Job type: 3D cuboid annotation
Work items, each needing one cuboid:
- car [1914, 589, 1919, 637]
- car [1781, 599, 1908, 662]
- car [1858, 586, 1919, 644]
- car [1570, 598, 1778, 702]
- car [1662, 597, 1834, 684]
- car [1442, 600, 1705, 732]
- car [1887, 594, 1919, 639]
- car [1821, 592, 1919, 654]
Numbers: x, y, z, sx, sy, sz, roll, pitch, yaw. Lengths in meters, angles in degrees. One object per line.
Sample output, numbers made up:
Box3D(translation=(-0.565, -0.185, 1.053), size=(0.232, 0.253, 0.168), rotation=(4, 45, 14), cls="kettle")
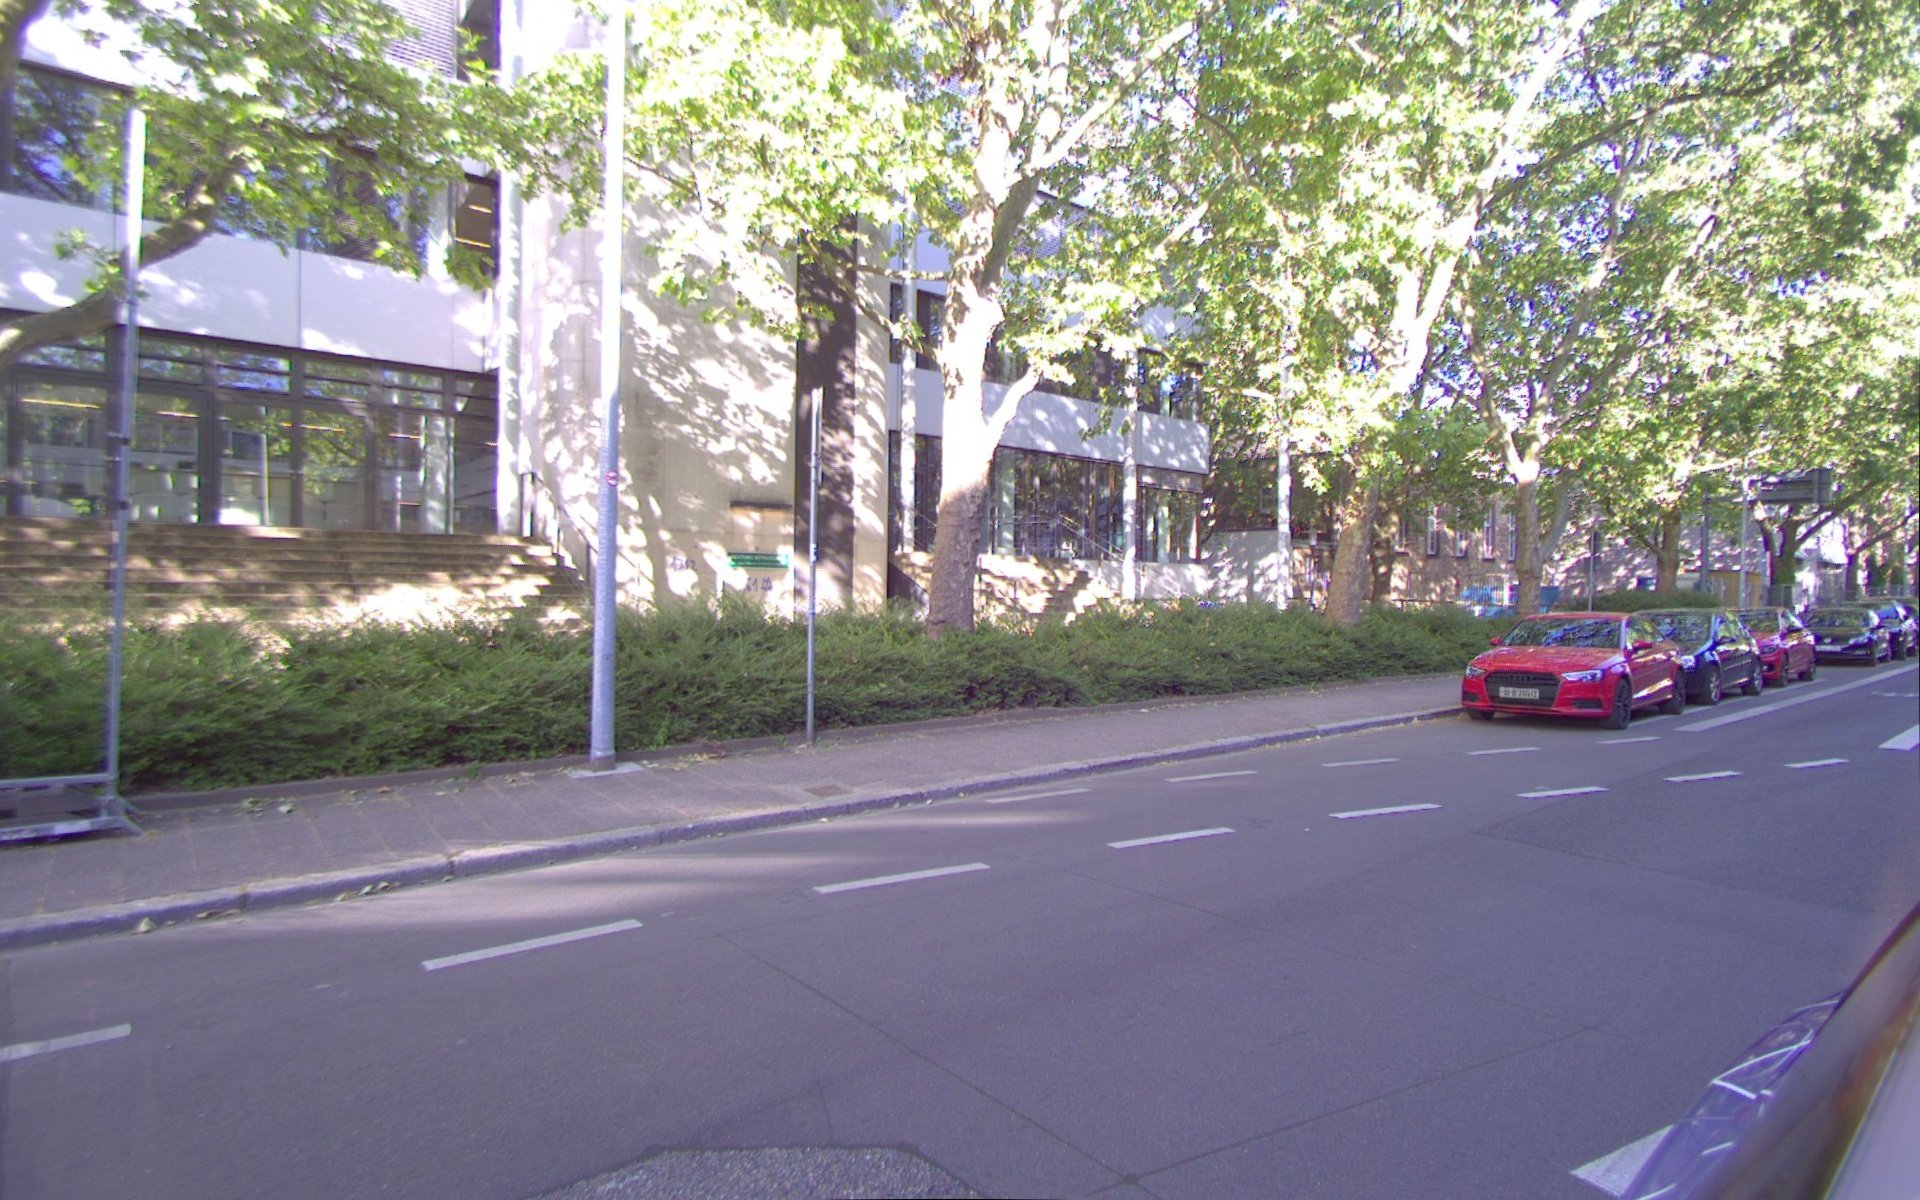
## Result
Box3D(translation=(39.647, 0.482, 40.327), size=(3.930, 1.872, 1.997), rotation=(-1, 0, -41), cls="car")
Box3D(translation=(22.809, 0.722, 26.059), size=(3.527, 1.474, 1.997), rotation=(-1, 0, -41), cls="car")
Box3D(translation=(31.273, 0.448, 33.309), size=(4.493, 1.809, 1.997), rotation=(-1, 0, -41), cls="car")
Box3D(translation=(11.796, 0.727, 16.654), size=(3.581, 1.478, 1.997), rotation=(-1, 0, -41), cls="car")
Box3D(translation=(15.654, 0.716, 20.048), size=(3.762, 1.517, 1.997), rotation=(-1, 0, -41), cls="car")
Box3D(translation=(8.267, 0.750, 13.521), size=(3.930, 1.443, 1.906), rotation=(-1, 0, -41), cls="car")
Box3D(translation=(35.948, 0.586, 37.441), size=(4.070, 1.585, 1.997), rotation=(-1, 0, -41), cls="car")
Box3D(translation=(26.532, 0.607, 29.177), size=(4.070, 1.621, 1.997), rotation=(-1, 0, -41), cls="car")
